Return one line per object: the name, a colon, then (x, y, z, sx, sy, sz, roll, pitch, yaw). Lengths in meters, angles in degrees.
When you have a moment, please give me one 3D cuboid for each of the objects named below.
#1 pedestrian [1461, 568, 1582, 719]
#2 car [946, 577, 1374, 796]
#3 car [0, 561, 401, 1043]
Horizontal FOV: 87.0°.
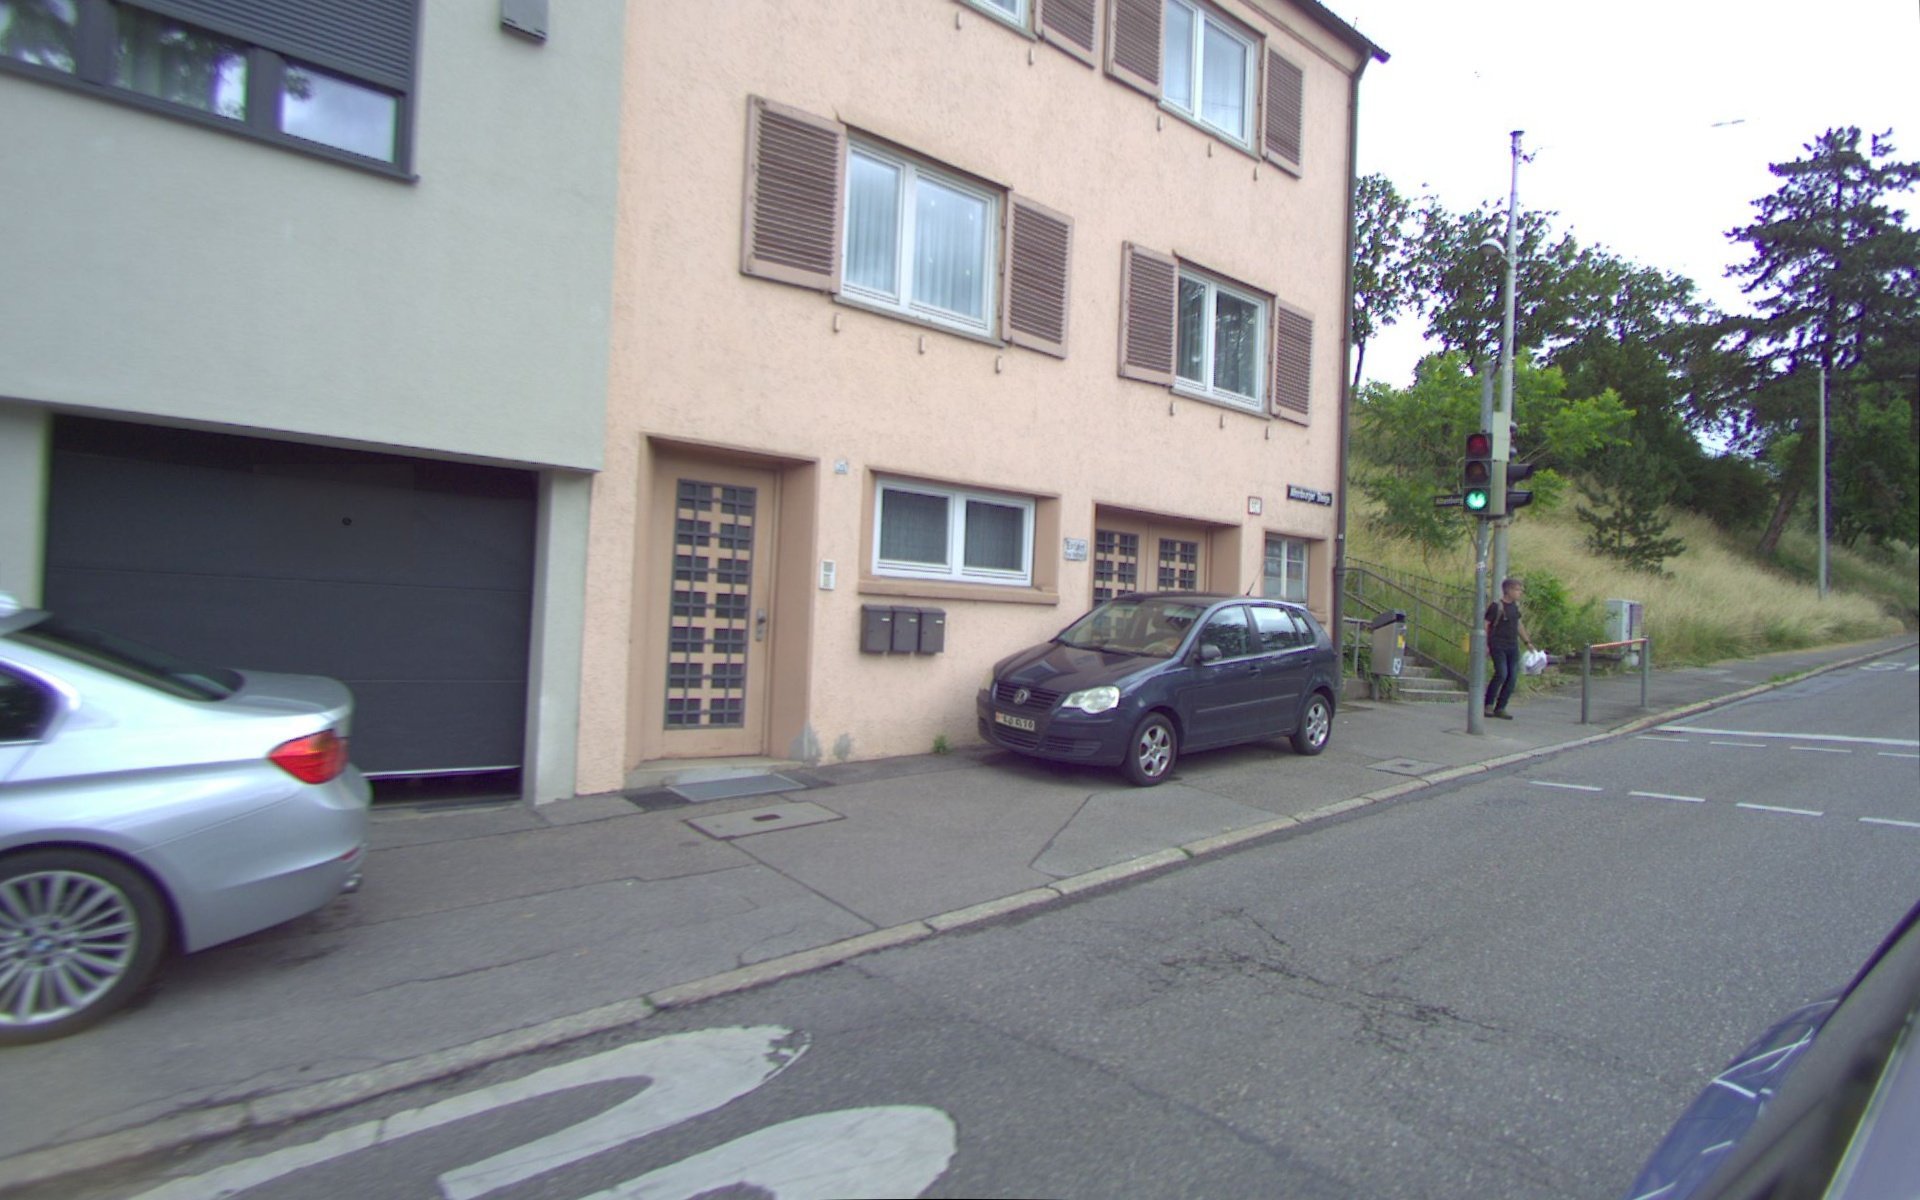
pedestrian: (6.887, 0.506, 12.457, 0.857, 1.716, 0.890, 4, 3, 2)
car: (1.935, 0.591, 9.148, 3.930, 1.468, 1.686, 0, 5, -41)
car: (-4.557, 0.611, 3.219, 4.630, 1.468, 1.800, 1, 3, -37)
